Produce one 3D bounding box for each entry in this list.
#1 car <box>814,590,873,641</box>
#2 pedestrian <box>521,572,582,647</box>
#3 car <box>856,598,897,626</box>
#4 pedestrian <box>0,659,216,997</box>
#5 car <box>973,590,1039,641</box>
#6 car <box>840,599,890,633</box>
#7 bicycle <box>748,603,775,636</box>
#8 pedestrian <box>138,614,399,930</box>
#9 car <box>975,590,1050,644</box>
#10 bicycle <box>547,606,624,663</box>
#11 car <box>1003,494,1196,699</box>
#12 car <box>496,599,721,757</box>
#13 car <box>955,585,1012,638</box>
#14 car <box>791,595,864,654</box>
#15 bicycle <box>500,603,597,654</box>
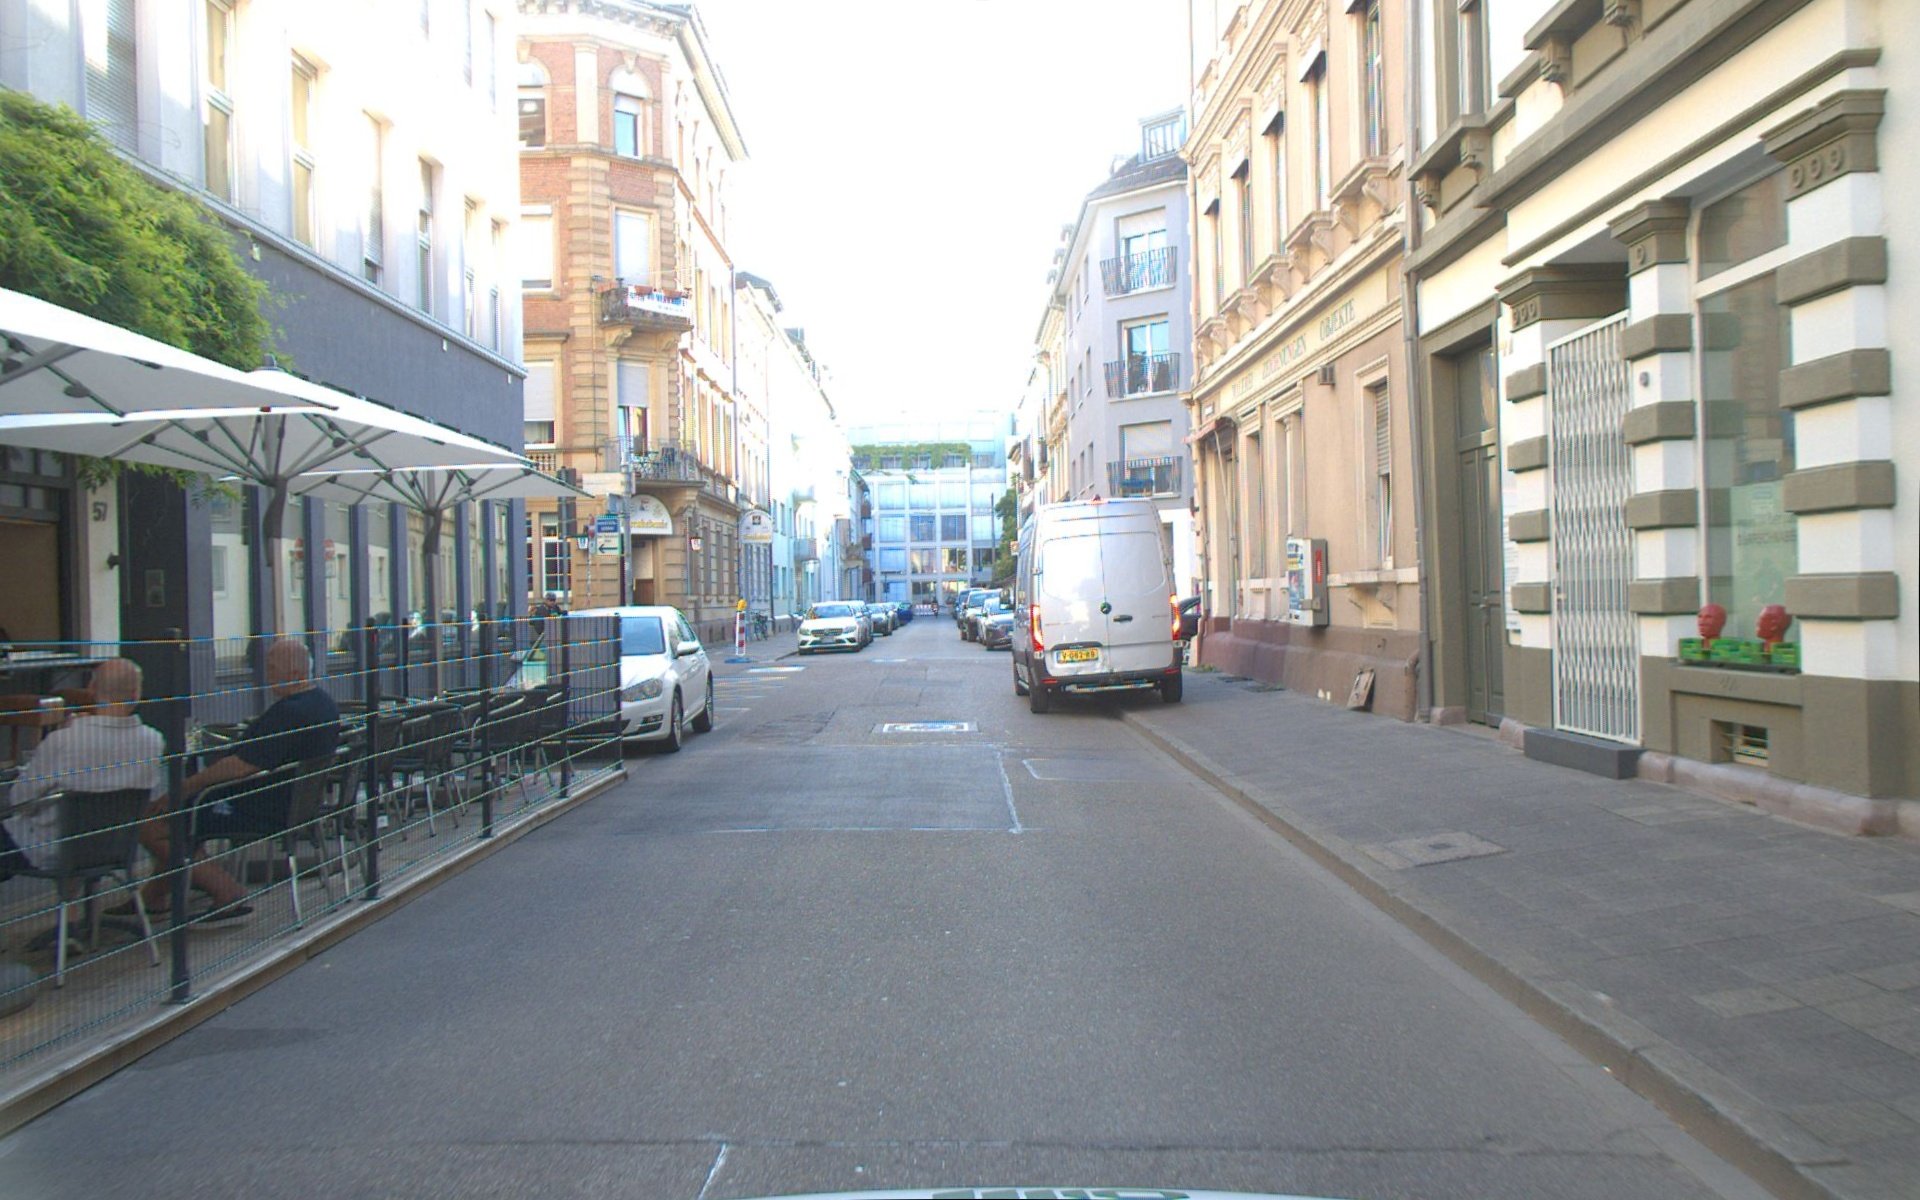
[{"bbox_3d":[-3.836,0.495,54.851,1.591,1.604,3.754,-1,0,1],"label":"car"},{"bbox_3d":[-8.761,0.205,35.474,1.057,1.572,0.832,-1,0,1],"label":"pedestrian"},{"bbox_3d":[-4.517,0.632,89.869,2.129,1.443,3.998,-2,0,-3],"label":"car"},{"bbox_3d":[-3.414,0.843,6.440,0.542,1.186,0.740,-2,0,31],"label":"pedestrian"},{"bbox_3d":[1.473,0.480,54.268,1.924,1.584,3.888,-1,0,-1],"label":"car"},{"bbox_3d":[-4.097,0.675,72.104,1.953,1.378,4.428,-2,0,-1],"label":"car"},{"bbox_3d":[-7.255,0.697,60.532,0.722,1.181,2.461,-1,0,-1],"label":"bicycle"},{"bbox_3d":[-3.108,0.739,7.518,0.765,1.309,0.915,-2,0,-1],"label":"pedestrian"},{"bbox_3d":[1.481,0.459,48.197,1.899,1.396,3.787,-3,0,-2],"label":"car"},{"bbox_3d":[-9.173,0.838,40.569,1.723,1.297,0.660,-1,3,-5],"label":"bicycle"},{"bbox_3d":[1.816,-0.059,23.656,2.230,2.482,6.203,-1,0,0],"label":"car"},{"bbox_3d":[-3.613,0.742,17.617,1.624,1.438,3.881,-2,0,-2],"label":"car"},{"bbox_3d":[0.811,0.397,59.546,1.855,1.815,3.999,-1,0,-2],"label":"car"},{"bbox_3d":[-3.879,0.693,49.149,1.954,1.591,4.504,-2,0,-2],"label":"car"},{"bbox_3d":[-8.810,0.612,35.437,1.934,1.025,0.540,-1,0,1],"label":"bicycle"}]
